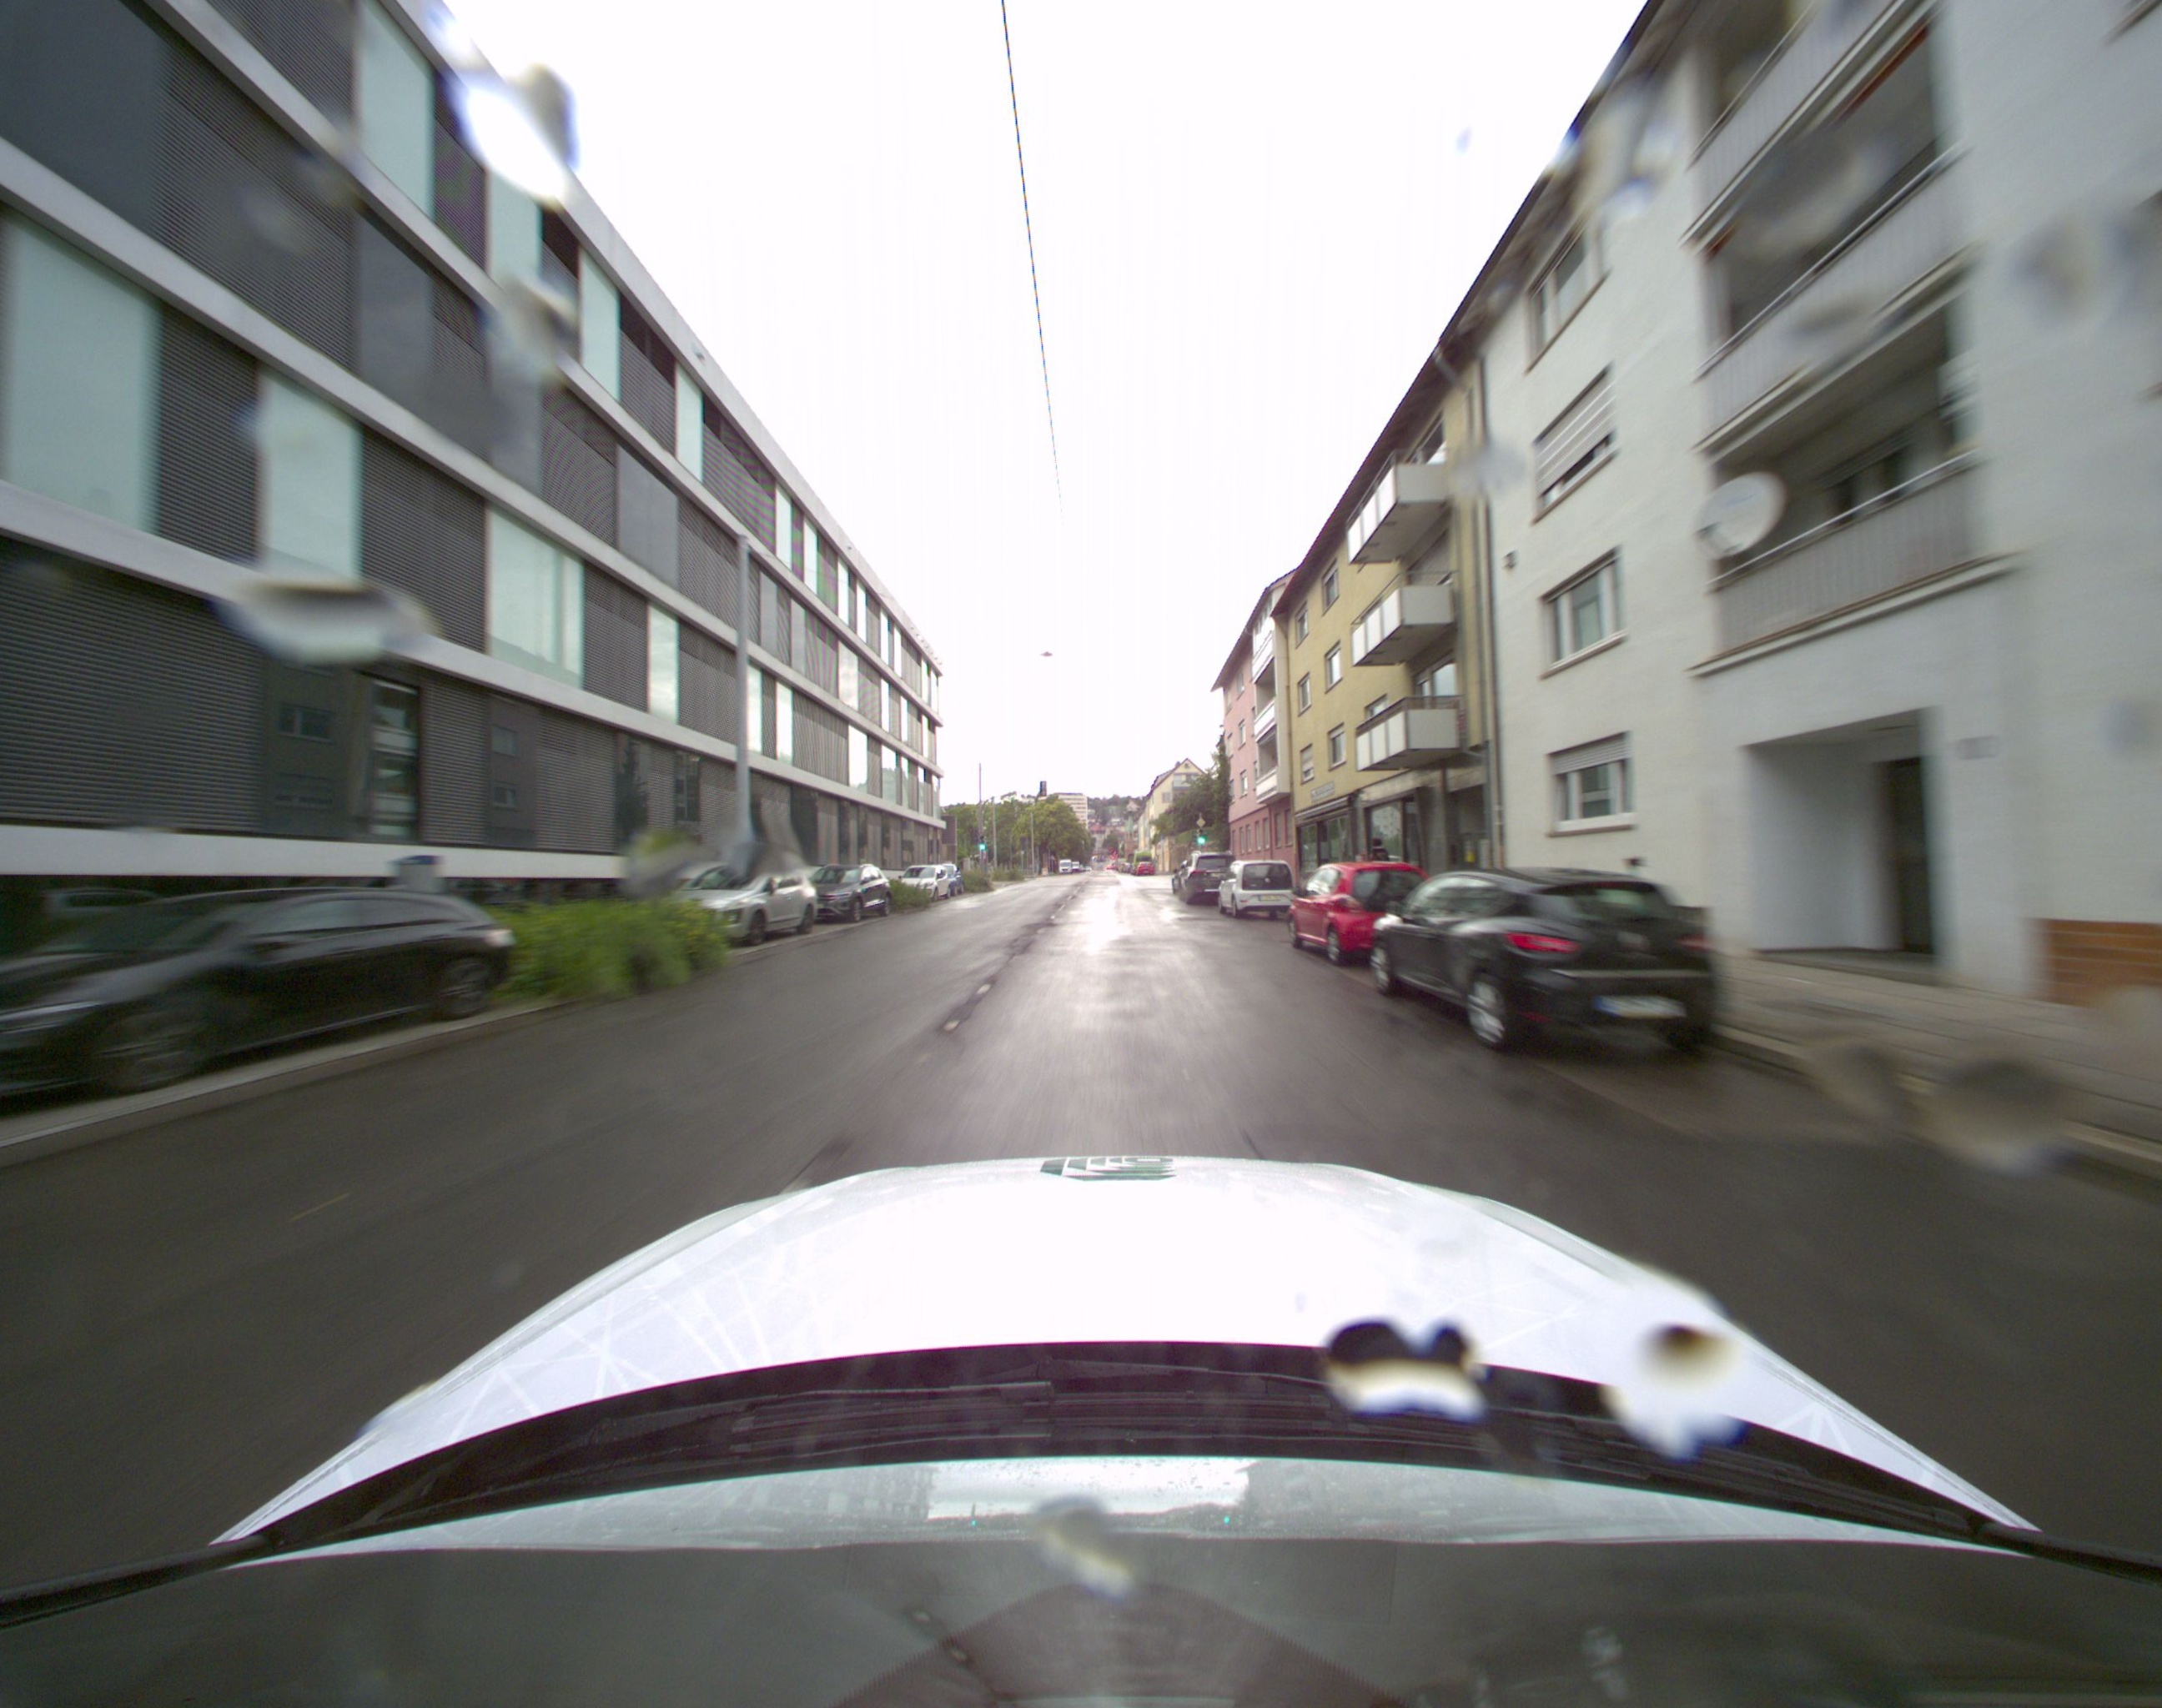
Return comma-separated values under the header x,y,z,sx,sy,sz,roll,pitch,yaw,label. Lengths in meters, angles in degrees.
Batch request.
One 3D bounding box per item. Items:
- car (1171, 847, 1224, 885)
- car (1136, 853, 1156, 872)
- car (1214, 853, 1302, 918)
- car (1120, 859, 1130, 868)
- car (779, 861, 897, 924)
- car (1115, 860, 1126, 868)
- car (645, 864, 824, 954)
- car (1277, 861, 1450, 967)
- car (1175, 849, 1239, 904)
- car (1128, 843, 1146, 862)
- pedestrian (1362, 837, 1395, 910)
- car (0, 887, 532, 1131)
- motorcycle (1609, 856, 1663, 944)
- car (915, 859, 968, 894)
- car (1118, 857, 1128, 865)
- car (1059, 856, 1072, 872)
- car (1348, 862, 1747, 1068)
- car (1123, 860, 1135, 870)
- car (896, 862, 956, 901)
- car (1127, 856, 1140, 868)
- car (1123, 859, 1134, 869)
x,y,z,sx,sy,sz,roll,pitch,yaw,label
4.866,0.477,34.488,1.775,1.410,3.764,-3,1,2,car
6.404,0.835,80.089,1.858,1.770,4.194,-1,0,4,car
4.650,0.784,21.890,1.629,1.571,3.712,-1,0,1,car
8.120,1.779,150.144,1.858,1.604,4.194,-1,0,4,car
-6.754,1.024,23.135,1.793,1.604,4.239,-1,-1,4,car
7.715,1.943,158.326,1.858,1.604,4.194,-1,0,4,car
-7.030,1.031,17.054,1.764,1.534,4.318,-1,1,2,car
4.350,0.848,13.101,1.577,1.413,3.655,-1,0,1,car
4.355,0.741,28.640,1.649,1.738,4.180,-1,0,1,car
6.175,-0.164,89.250,1.858,1.973,4.194,-1,0,4,car
7.737,0.494,21.198,0.636,1.870,0.539,-1,-1,3,pedestrian
-7.491,1.096,7.455,1.830,1.396,4.394,-1,0,2,car
7.629,0.616,11.215,0.251,1.165,0.782,-1,-1,4,motorcycle
-6.690,1.046,39.386,1.861,1.525,4.195,-1,1,-1,car
8.765,1.508,169.168,1.858,1.604,4.194,-1,0,4,car
-2.536,1.671,135.793,2.098,2.546,4.749,-1,0,-1,car
4.068,0.836,7.963,1.700,1.454,3.986,-1,0,1,car
7.958,1.766,134.779,1.858,1.604,4.194,-1,0,4,car
-6.477,1.106,34.312,1.588,1.459,3.722,-1,1,3,car
7.472,1.148,115.423,1.858,1.604,4.194,-1,0,4,car
8.209,1.691,139.813,1.858,1.604,4.194,-1,0,4,car
